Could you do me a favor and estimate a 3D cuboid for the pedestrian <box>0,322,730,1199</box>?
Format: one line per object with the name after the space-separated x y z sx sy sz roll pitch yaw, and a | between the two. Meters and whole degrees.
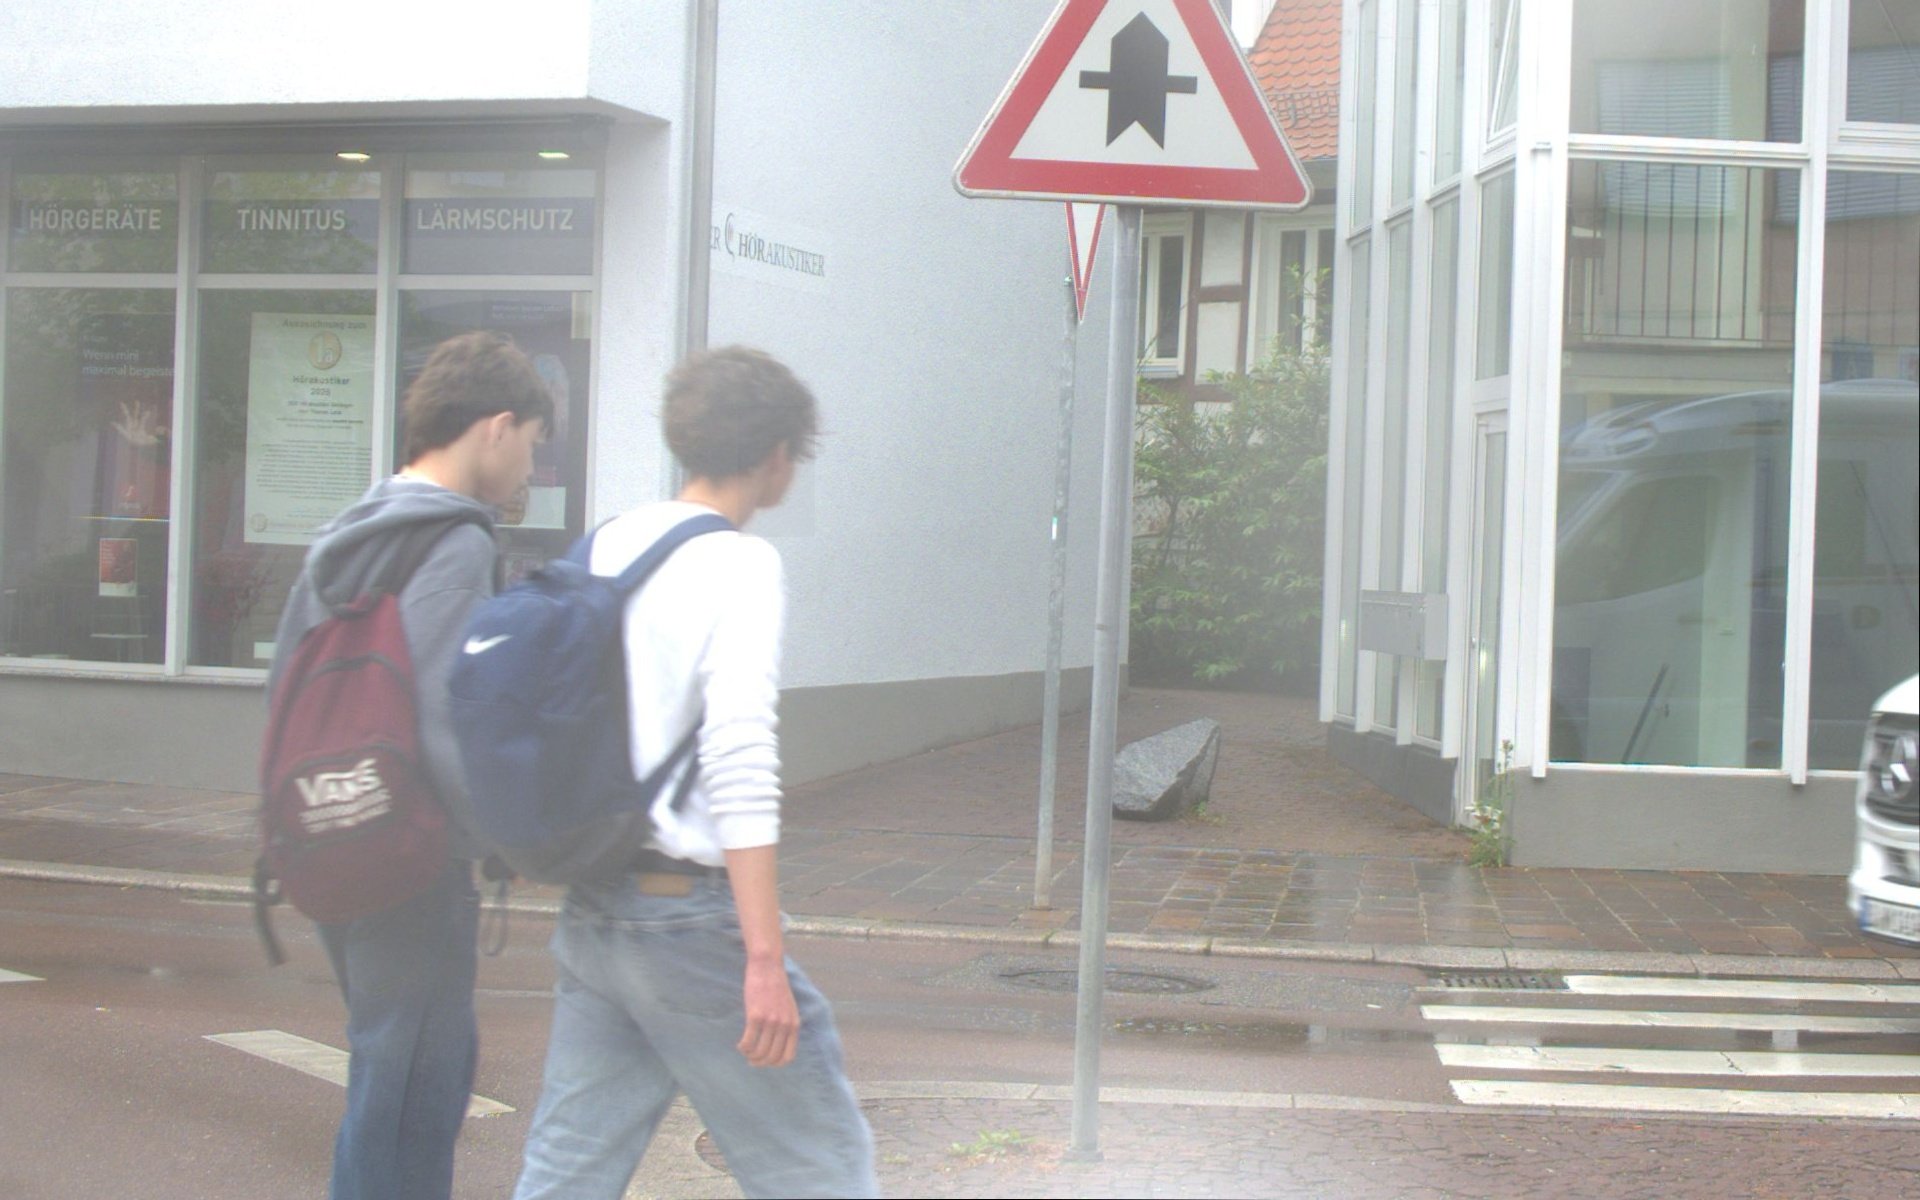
-1.000 0.489 5.607 0.693 1.794 1.056 2 0 35 | pedestrian

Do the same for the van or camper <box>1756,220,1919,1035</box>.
6.359 0.185 11.416 6.727 2.577 2.446 2 0 -7 | van or camper

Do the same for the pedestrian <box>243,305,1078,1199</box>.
-0.429 0.510 5.129 0.665 1.800 1.058 2 0 38 | pedestrian
